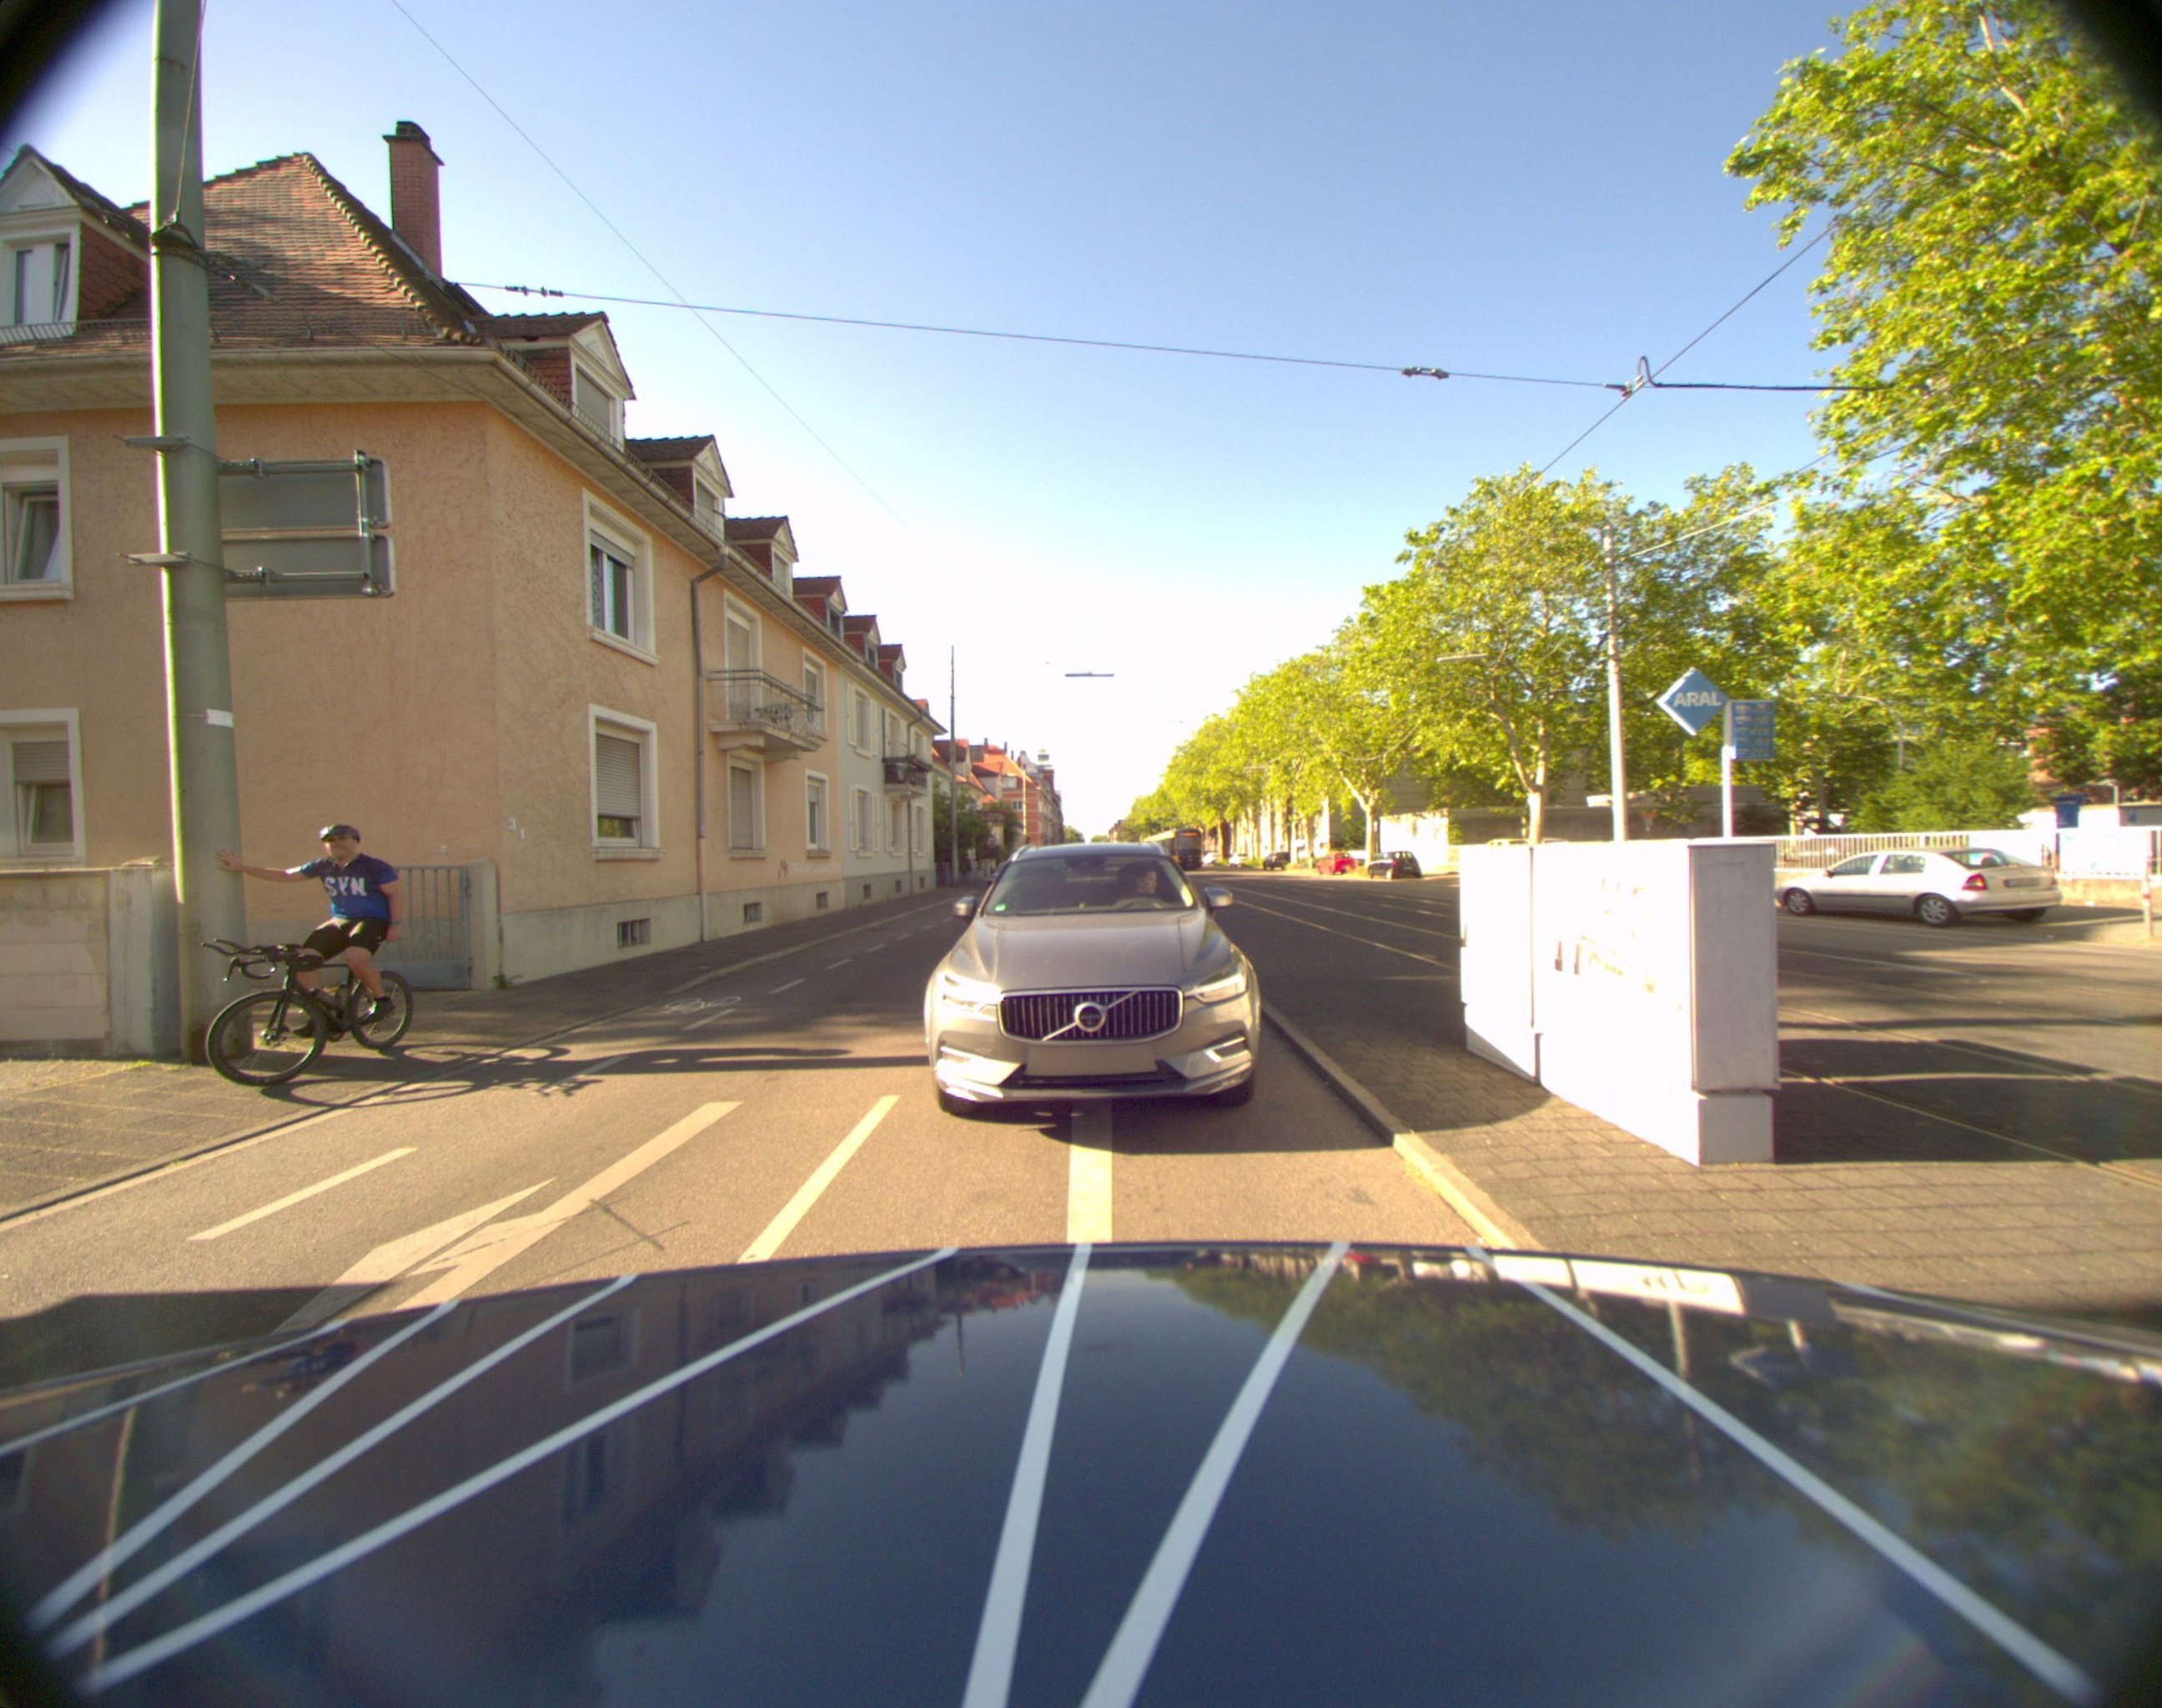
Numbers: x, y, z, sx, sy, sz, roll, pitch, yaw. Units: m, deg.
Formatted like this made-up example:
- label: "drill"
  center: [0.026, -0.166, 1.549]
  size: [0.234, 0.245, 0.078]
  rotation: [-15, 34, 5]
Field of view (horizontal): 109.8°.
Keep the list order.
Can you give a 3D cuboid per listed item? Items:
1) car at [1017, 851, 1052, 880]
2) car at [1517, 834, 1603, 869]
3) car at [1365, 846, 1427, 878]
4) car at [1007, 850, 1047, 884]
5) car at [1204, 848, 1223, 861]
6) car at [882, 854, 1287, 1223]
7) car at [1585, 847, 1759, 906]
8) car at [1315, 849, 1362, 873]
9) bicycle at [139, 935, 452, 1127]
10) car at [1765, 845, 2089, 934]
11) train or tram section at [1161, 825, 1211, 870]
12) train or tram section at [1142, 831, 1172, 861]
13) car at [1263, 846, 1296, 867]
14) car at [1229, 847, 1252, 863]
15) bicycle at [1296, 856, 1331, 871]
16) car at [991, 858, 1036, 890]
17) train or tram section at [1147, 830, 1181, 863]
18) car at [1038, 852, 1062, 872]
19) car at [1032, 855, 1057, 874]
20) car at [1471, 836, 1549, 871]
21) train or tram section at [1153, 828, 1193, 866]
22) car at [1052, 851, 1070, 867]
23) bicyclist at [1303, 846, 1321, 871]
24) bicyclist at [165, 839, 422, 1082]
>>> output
- label: "car"
  center: [-2.789, 0.667, 46.654]
  size: [1.847, 1.681, 4.000]
  rotation: [-1, 0, 0]
- label: "car"
  center: [24.043, -0.126, 38.323]
  size: [1.845, 1.524, 4.000]
  rotation: [-4, 0, 2]
- label: "car"
  center: [16.967, 0.394, 41.073]
  size: [1.845, 1.524, 4.001]
  rotation: [-4, 0, 4]
- label: "car"
  center: [-2.963, 0.673, 42.303]
  size: [1.847, 1.742, 4.144]
  rotation: [-1, 0, 0]
- label: "car"
  center: [17.599, 0.055, 100.892]
  size: [1.845, 1.664, 4.098]
  rotation: [-4, 0, 3]
- label: "car"
  center: [-0.001, 0.879, 5.775]
  size: [1.892, 1.695, 4.318]
  rotation: [-1, 0, -1]
- label: "car"
  center: [16.516, 0.555, 21.536]
  size: [1.845, 1.400, 4.138]
  rotation: [-4, 0, 4]
- label: "car"
  center: [16.962, 0.430, 50.297]
  size: [1.845, 1.400, 4.000]
  rotation: [-4, 0, 3]
- label: "bicycle"
  center: [-5.934, 1.269, 5.911]
  size: [0.594, 1.045, 1.719]
  rotation: [4, 1, 1]
- label: "car"
  center: [16.234, 0.605, 14.963]
  size: [1.846, 1.400, 3.999]
  rotation: [-4, 0, -1]
- label: "train or tram section"
  center: [8.965, -0.585, 65.968]
  size: [2.862, 3.456, 10.181]
  rotation: [-2, 1, 1]
- label: "train or tram section"
  center: [9.537, -0.991, 96.457]
  size: [2.843, 3.456, 10.182]
  rotation: [-2, 1, 1]
- label: "car"
  center: [17.170, 0.207, 65.882]
  size: [1.845, 1.607, 4.098]
  rotation: [-4, 0, 3]
- label: "car"
  center: [17.493, 0.098, 83.530]
  size: [1.845, 1.664, 4.098]
  rotation: [-4, 0, 3]
- label: "bicycle"
  center: [17.501, 0.720, 57.348]
  size: [0.656, 1.114, 2.526]
  rotation: [-2, 1, -43]
- label: "car"
  center: [-3.230, 0.934, 36.964]
  size: [1.847, 1.412, 3.999]
  rotation: [-1, 0, -1]
- label: "train or tram section"
  center: [9.332, -0.851, 86.244]
  size: [2.843, 3.456, 10.182]
  rotation: [-2, 1, 1]
- label: "car"
  center: [-2.673, 0.679, 65.757]
  size: [1.847, 1.681, 4.000]
  rotation: [-1, 0, 0]
- label: "car"
  center: [-2.877, 0.845, 60.393]
  size: [1.808, 1.402, 3.999]
  rotation: [-1, 0, -1]
- label: "car"
  center: [21.749, -0.042, 38.700]
  size: [1.845, 1.524, 4.001]
  rotation: [-4, 0, 4]
- label: "train or tram section"
  center: [9.114, -0.709, 76.134]
  size: [2.843, 3.456, 10.182]
  rotation: [-2, 1, 1]
- label: "car"
  center: [-2.240, 0.533, 85.471]
  size: [1.999, 1.641, 4.658]
  rotation: [-1, 0, -1]
- label: "bicyclist"
  center: [17.440, 0.316, 57.407]
  size: [0.722, 1.853, 1.068]
  rotation: [-2, 1, -43]
- label: "bicyclist"
  center: [-6.177, 0.787, 6.027]
  size: [1.071, 1.728, 0.853]
  rotation: [4, 1, 1]
